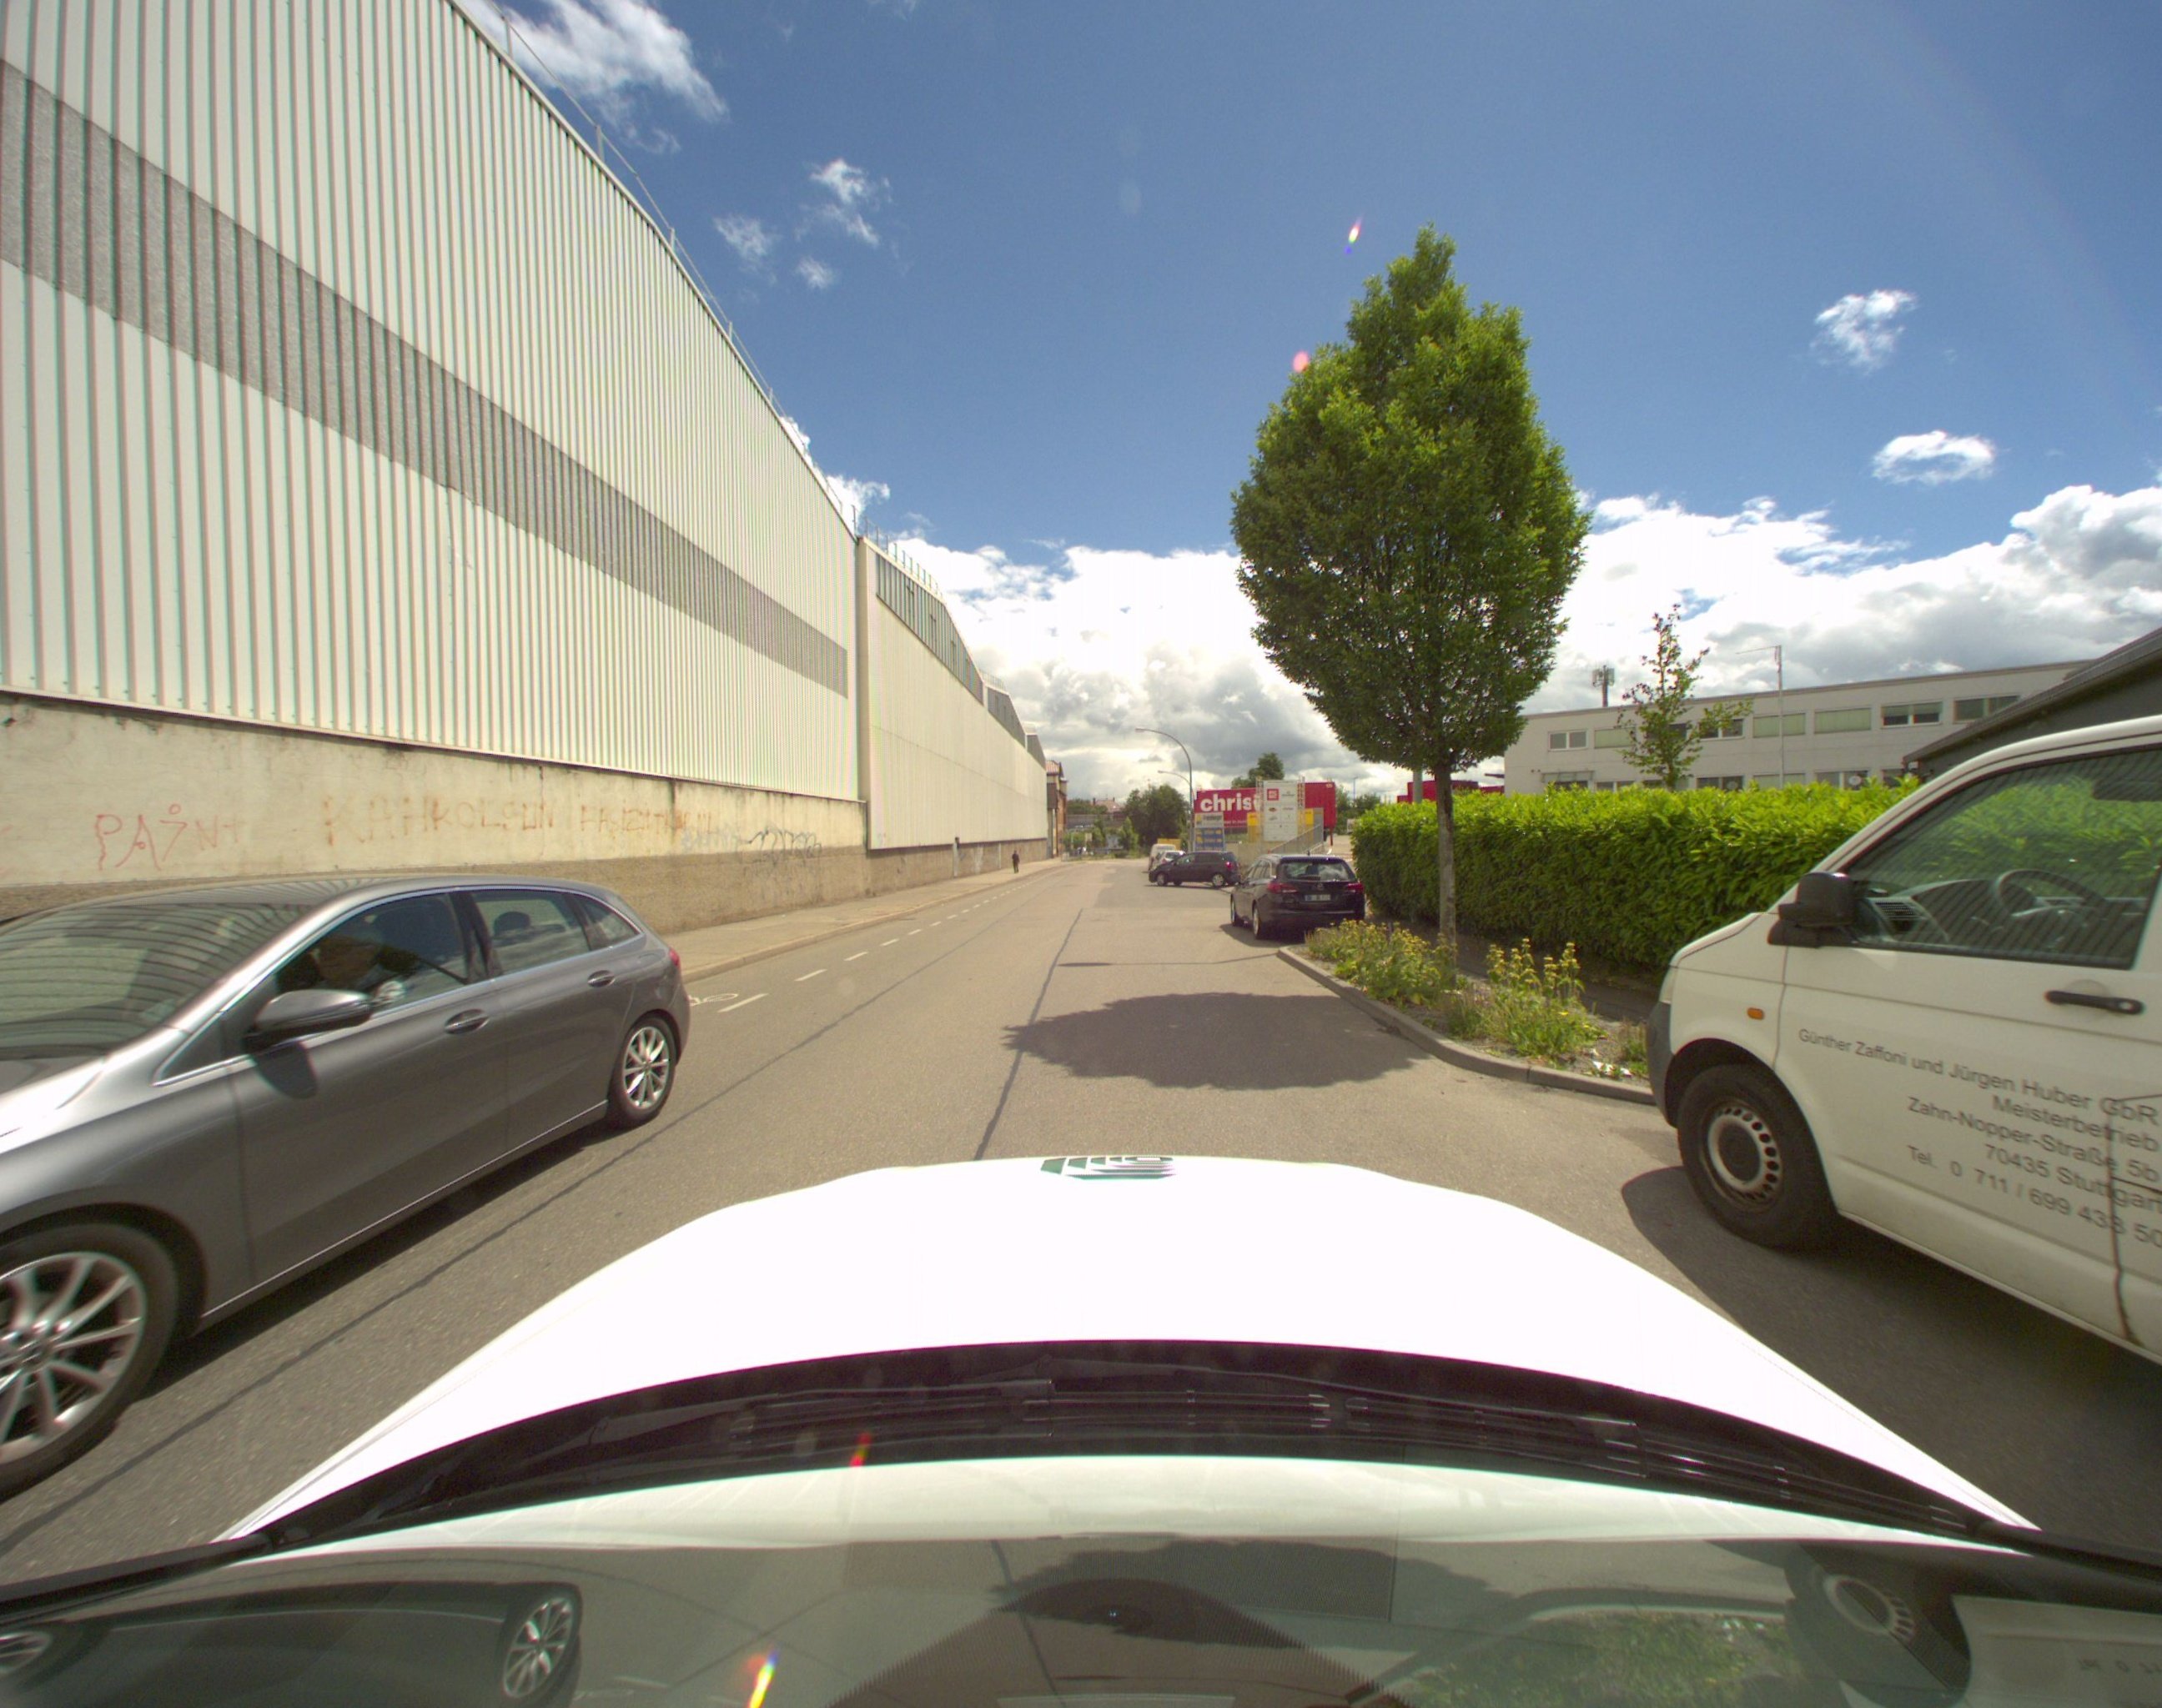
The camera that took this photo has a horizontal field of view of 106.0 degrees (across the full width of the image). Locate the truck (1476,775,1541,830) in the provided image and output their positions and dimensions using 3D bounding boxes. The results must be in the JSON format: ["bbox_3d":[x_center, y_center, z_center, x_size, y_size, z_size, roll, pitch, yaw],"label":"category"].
[{"bbox_3d":[37.057,-4.327,70.429,2.961,4.059,8.529,-2,-2,41],"label":"truck"}]

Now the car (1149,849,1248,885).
[{"bbox_3d":[4.912,0.534,34.201,3.746,1.447,1.717,0,0,27],"label":"car"}]

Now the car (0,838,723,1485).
[{"bbox_3d":[-3.452,0.818,3.516,1.713,1.555,4.289,-4,-1,2],"label":"car"}]

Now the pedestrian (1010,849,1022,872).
[{"bbox_3d":[-4.580,0.477,57.735,0.709,1.638,0.778,-1,-2,4],"label":"pedestrian"}]

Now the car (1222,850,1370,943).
[{"bbox_3d":[3.828,0.670,15.259,1.707,1.473,4.513,-1,0,2],"label":"car"}]

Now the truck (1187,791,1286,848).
[{"bbox_3d":[13.820,-2.959,72.308,8.392,4.671,2.591,-1,-2,12],"label":"truck"}]

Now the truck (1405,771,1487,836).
[{"bbox_3d":[26.692,-3.535,59.369,2.961,4.059,8.529,-2,-2,41],"label":"truck"}]

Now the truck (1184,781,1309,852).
[{"bbox_3d":[11.983,-2.573,59.126,8.375,4.671,2.596,-1,-2,23],"label":"truck"}]

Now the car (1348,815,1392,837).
[{"bbox_3d":[40.121,-3.864,113.046,5.589,2.677,2.011,-1,-2,23],"label":"car"}]

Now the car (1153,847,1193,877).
[{"bbox_3d":[5.085,0.405,45.569,1.696,1.527,3.736,2,1,-2],"label":"car"}]

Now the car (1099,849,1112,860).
[{"bbox_3d":[3.730,0.092,123.907,1.846,1.486,4.001,-1,-1,2],"label":"car"}]

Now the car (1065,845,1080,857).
[{"bbox_3d":[-1.121,-0.380,112.458,1.846,1.486,4.001,-1,-1,2],"label":"car"}]

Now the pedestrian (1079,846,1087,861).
[{"bbox_3d":[0.206,-0.061,96.223,0.849,1.663,0.861,-1,-2,6],"label":"pedestrian"}]

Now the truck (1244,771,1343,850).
[{"bbox_3d":[13.486,-2.637,52.414,2.579,4.449,7.821,0,-1,-15],"label":"truck"}]

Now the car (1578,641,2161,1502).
[{"bbox_3d":[3.413,0.494,1.600,1.862,1.990,5.146,-1,0,2],"label":"car"}]

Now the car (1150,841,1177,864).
[{"bbox_3d":[5.687,-0.102,56.241,1.694,1.527,3.742,-1,0,4],"label":"car"}]

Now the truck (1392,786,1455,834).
[{"bbox_3d":[33.270,-4.120,78.803,2.961,4.059,8.529,-2,-2,41],"label":"truck"}]
